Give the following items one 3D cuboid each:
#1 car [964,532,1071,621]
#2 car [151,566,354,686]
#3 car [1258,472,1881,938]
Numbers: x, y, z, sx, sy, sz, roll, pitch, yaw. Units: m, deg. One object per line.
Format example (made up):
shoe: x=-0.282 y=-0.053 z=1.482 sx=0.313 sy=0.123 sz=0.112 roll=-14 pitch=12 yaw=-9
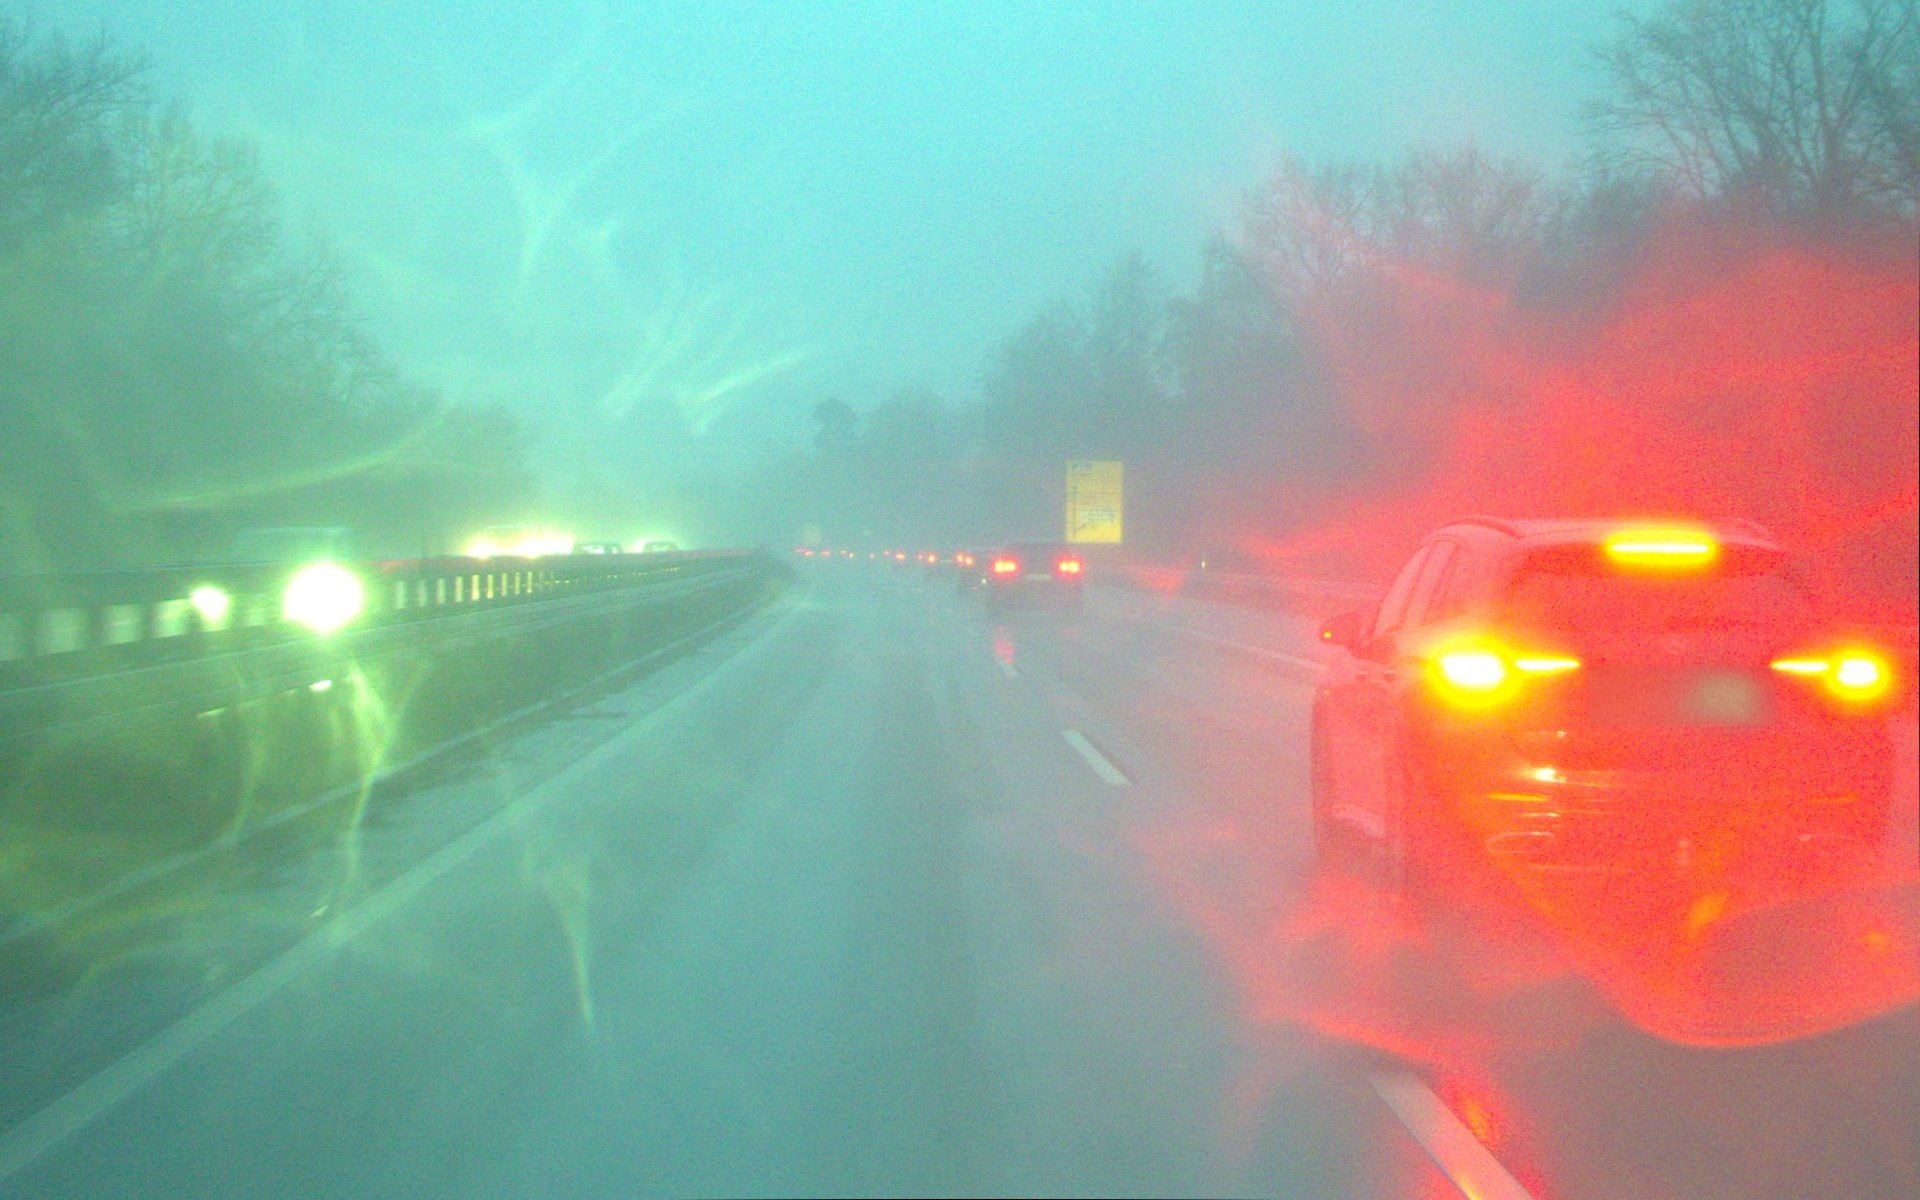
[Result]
car: x=1.135 y=-0.474 z=69.216 sx=1.992 sy=1.709 sz=3.830 roll=1 pitch=0 yaw=-1
car: x=-8.647 y=0.284 z=42.329 sx=1.543 sy=1.391 sz=4.122 roll=1 pitch=0 yaw=1
car: x=2.529 y=0.391 z=15.259 sx=1.924 sy=1.785 sz=3.941 roll=1 pitch=0 yaw=-2
